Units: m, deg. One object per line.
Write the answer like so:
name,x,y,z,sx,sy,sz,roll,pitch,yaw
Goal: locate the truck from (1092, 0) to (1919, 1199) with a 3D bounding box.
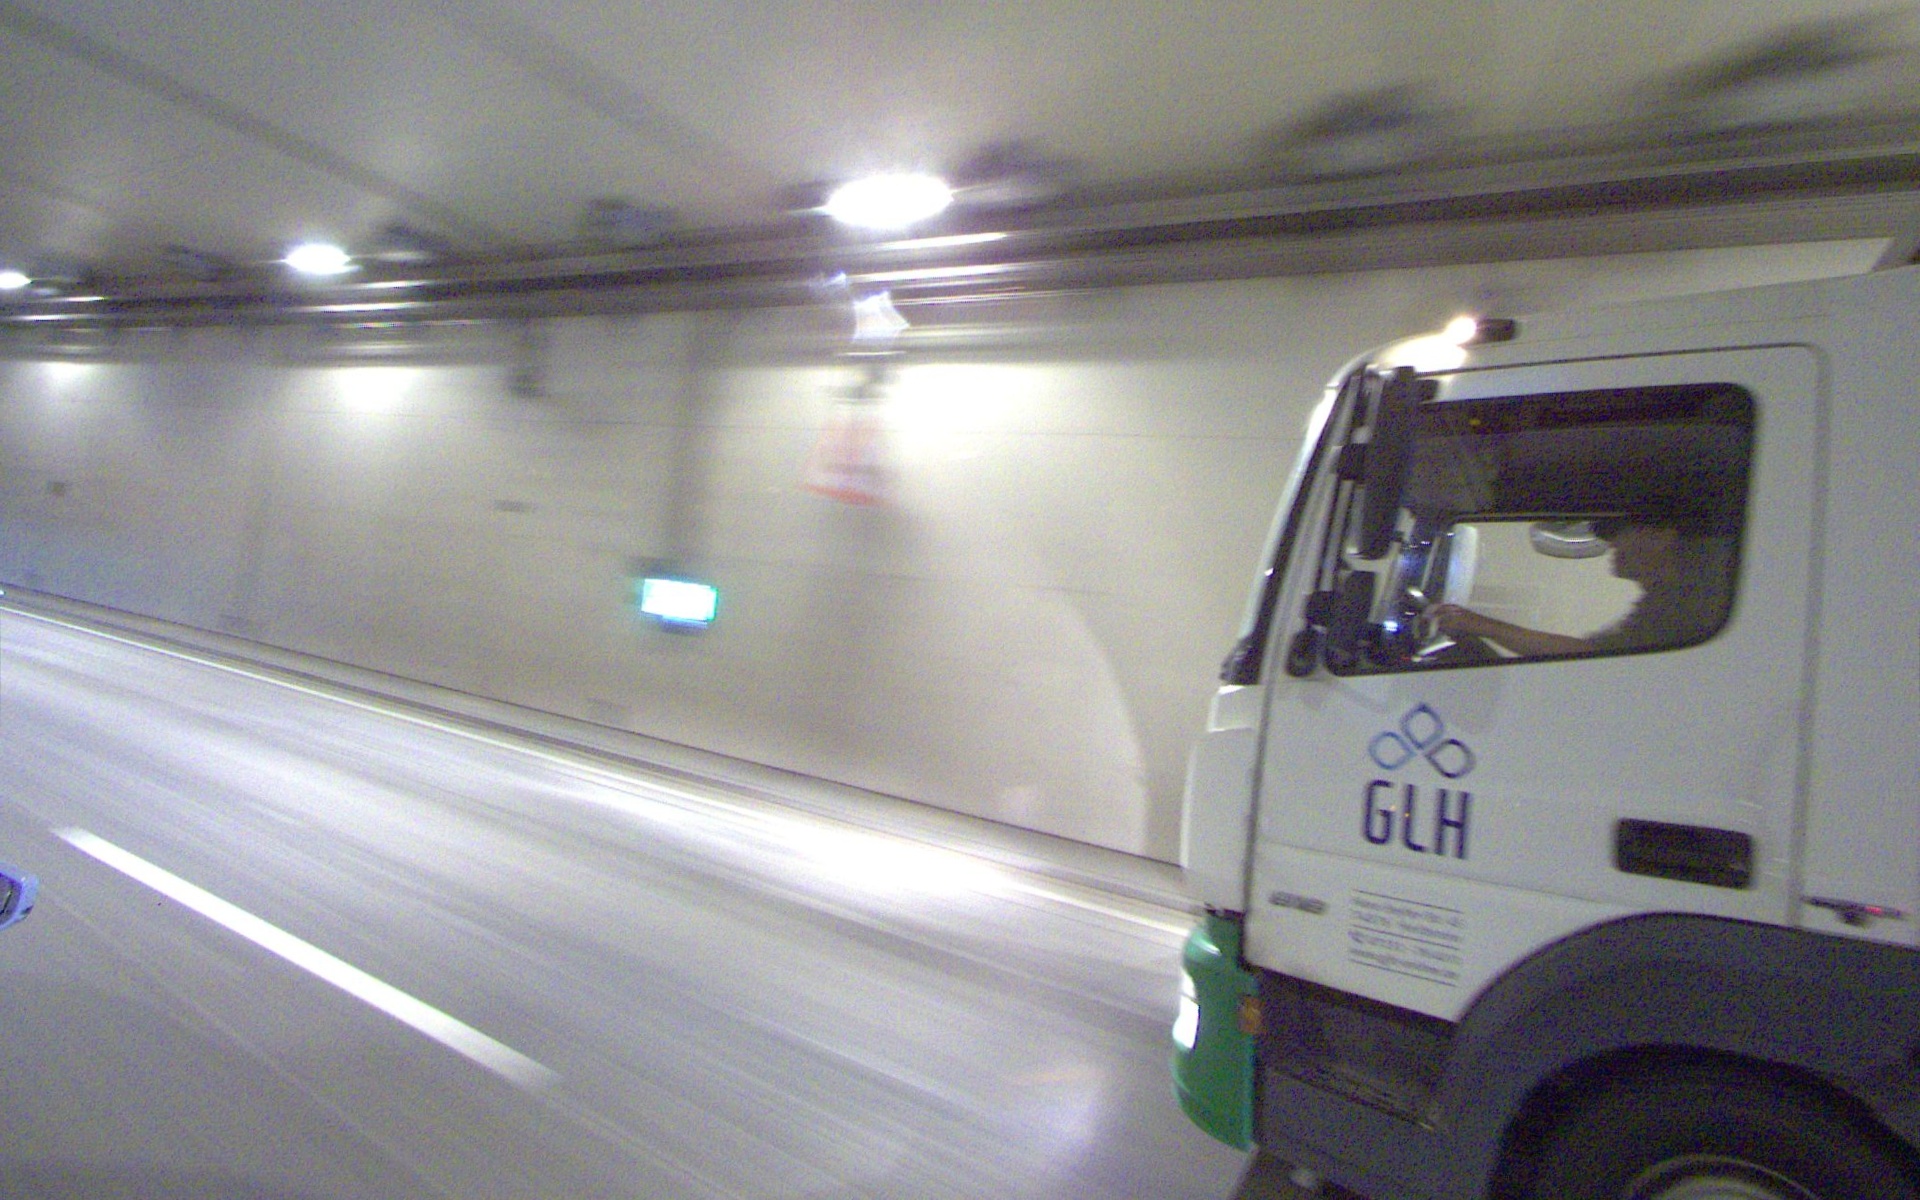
truck,4.195,0.512,1.882,7.123,3.218,2.559,6,-2,30
